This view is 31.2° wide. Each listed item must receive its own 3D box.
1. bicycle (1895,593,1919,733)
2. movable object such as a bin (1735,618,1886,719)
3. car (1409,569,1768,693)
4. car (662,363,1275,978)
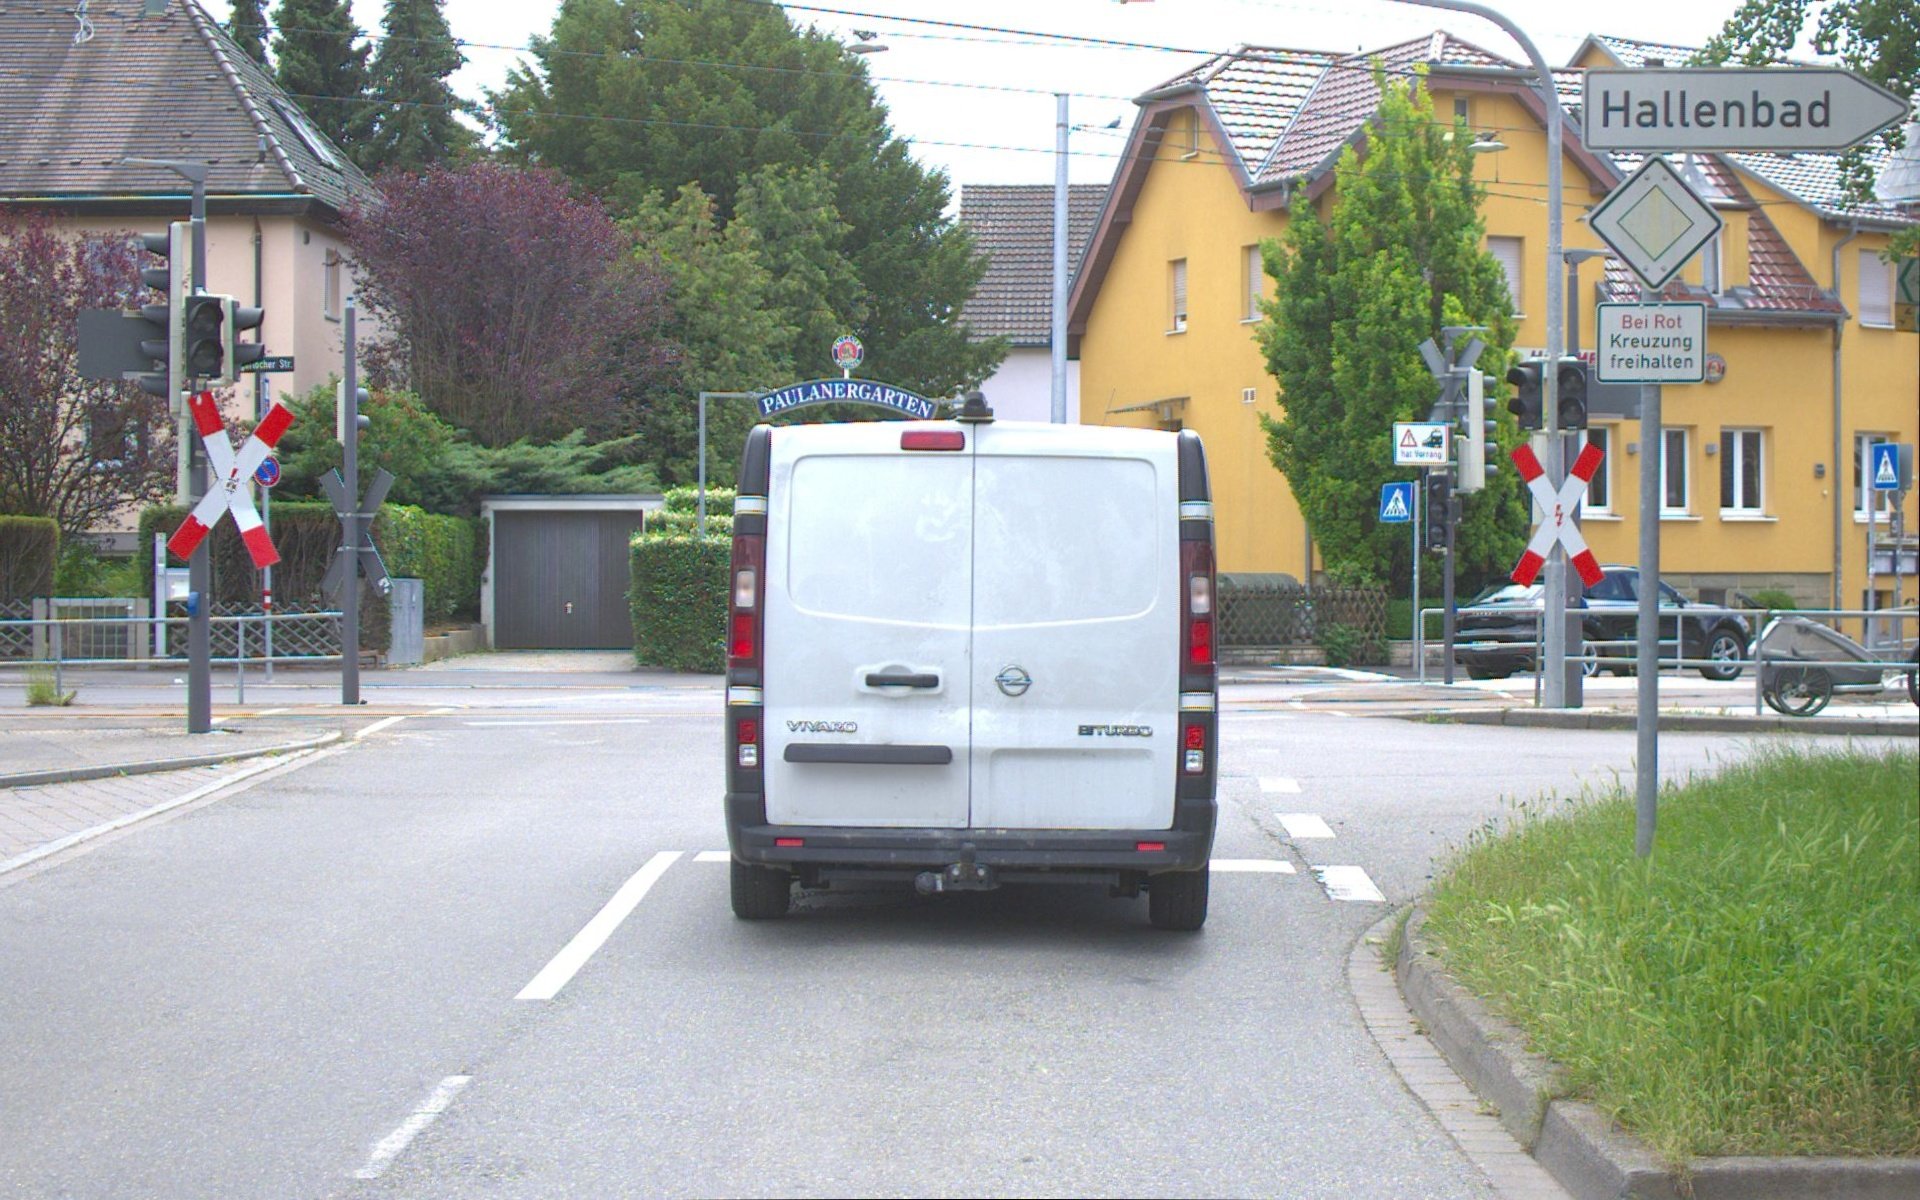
[{"bbox_3d":[8.725,0.522,28.780,1.686,1.152,0.467,0,0,-8],"label":"bicycle"},{"bbox_3d":[7.127,0.574,28.827,1.091,0.822,0.579,1,0,-4],"label":"movable object such as a bin"},{"bbox_3d":[8.585,0.431,46.879,4.358,1.559,2.363,1,1,-34],"label":"car"},{"bbox_3d":[-0.048,0.213,14.783,2.116,2.127,5.441,1,1,-2],"label":"car"}]
